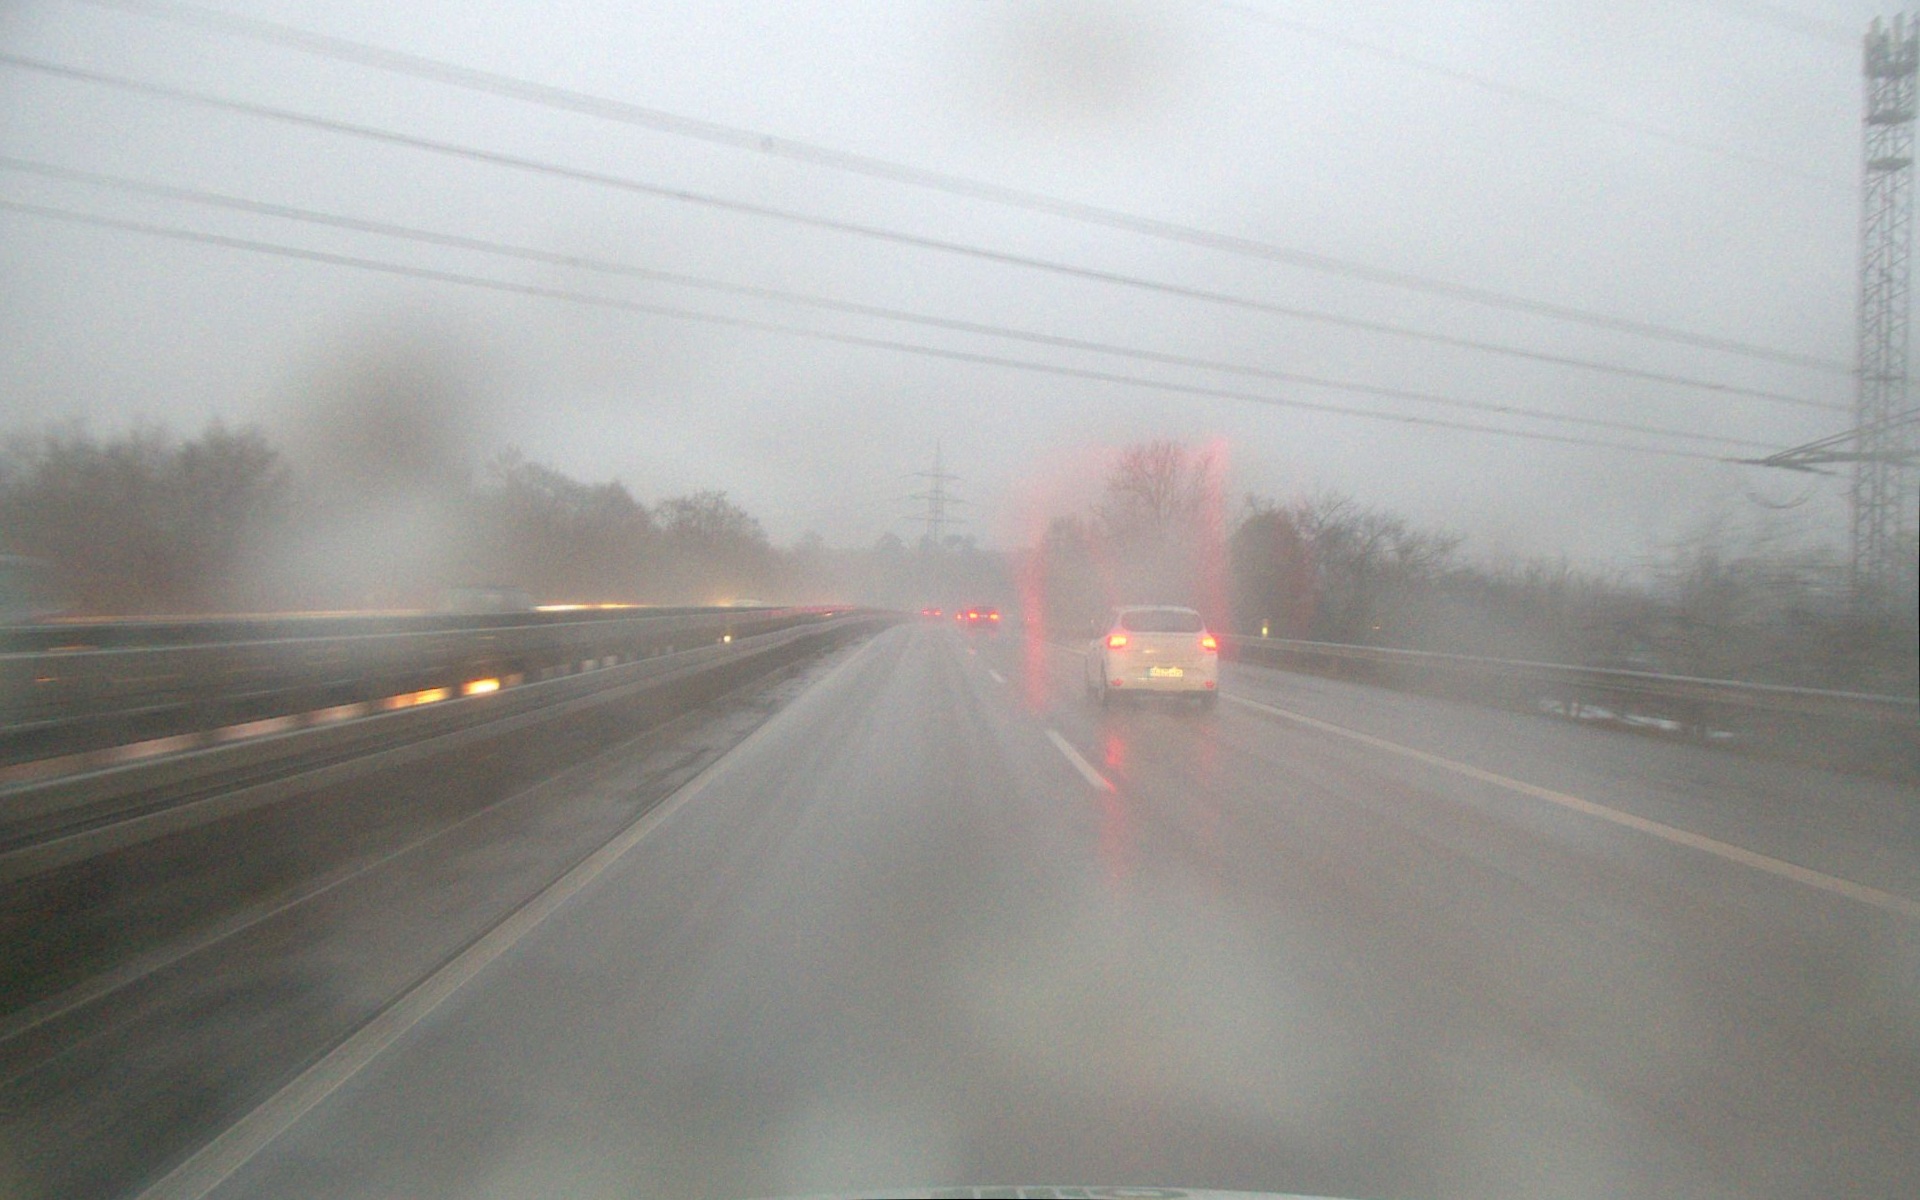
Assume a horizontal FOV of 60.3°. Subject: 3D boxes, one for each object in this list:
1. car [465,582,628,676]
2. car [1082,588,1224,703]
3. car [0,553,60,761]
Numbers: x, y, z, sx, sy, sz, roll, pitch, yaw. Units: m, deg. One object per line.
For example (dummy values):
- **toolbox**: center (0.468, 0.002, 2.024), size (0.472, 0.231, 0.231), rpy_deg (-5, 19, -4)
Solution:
- **car**: center (-7.280, 0.482, 29.527), size (1.953, 1.536, 3.999), rpy_deg (1, 0, -1)
- **car**: center (2.980, 0.666, 26.235), size (1.808, 1.664, 3.768), rpy_deg (1, 0, 0)
- **car**: center (-8.987, 0.465, 12.477), size (2.028, 1.741, 4.399), rpy_deg (1, 0, -1)
